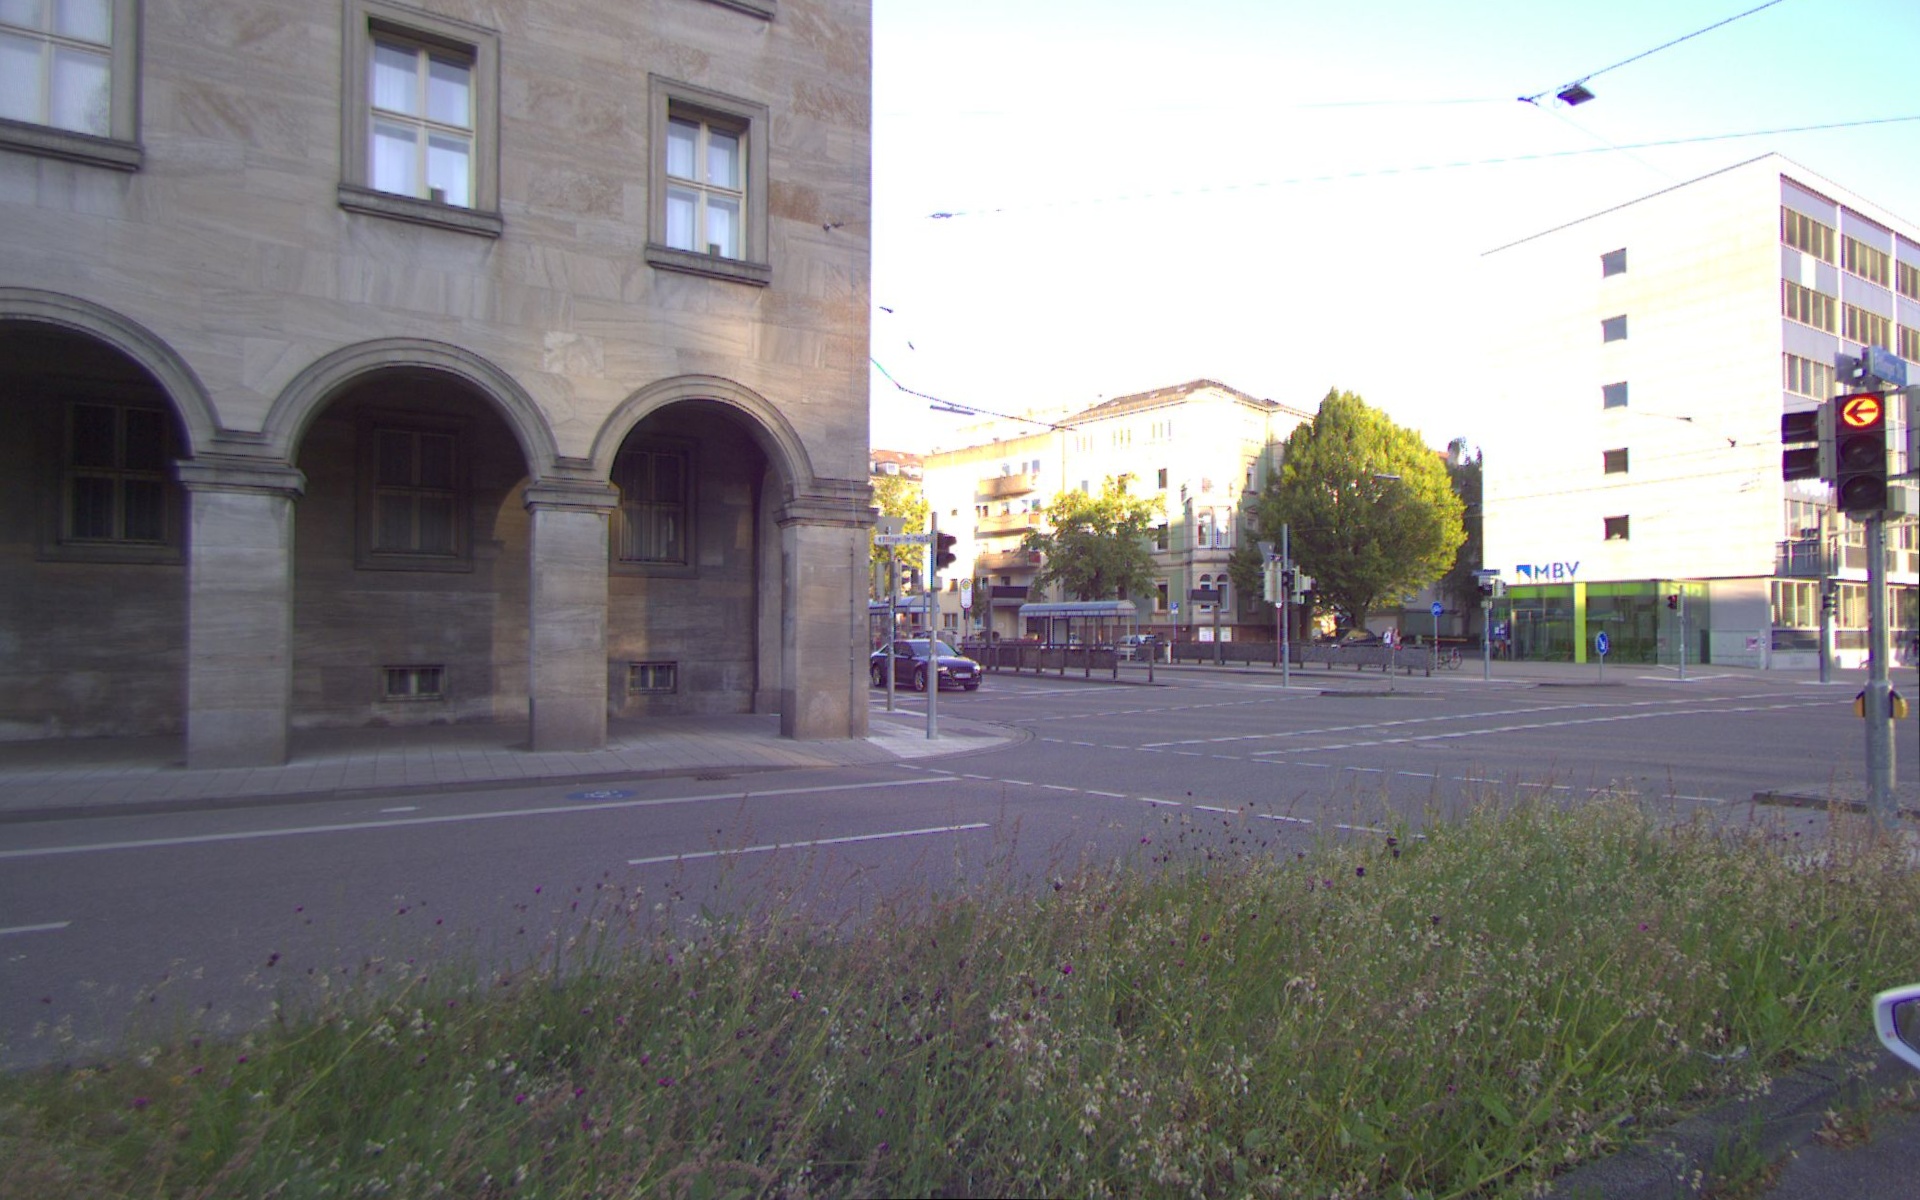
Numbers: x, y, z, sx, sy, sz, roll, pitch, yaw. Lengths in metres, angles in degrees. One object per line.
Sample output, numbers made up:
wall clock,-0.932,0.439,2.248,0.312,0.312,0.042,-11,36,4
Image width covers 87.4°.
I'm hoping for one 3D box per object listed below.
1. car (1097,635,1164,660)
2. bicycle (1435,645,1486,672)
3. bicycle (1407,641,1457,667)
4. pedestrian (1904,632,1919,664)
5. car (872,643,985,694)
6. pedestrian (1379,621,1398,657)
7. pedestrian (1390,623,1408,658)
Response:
car,10.031,2.768,59.204,3.545,1.390,1.830,-2,-3,45
bicycle,21.665,2.502,43.483,2.183,1.127,0.834,1,-2,-26
bicycle,21.005,2.396,44.657,2.183,1.127,0.834,1,-2,-26
pedestrian,50.564,2.542,53.271,0.494,1.701,0.549,1,-2,-30
car,-1.015,1.967,29.745,1.791,1.344,4.120,1,-2,-27
pedestrian,21.861,1.986,51.226,0.718,1.813,0.634,2,-2,-44
pedestrian,22.530,2.071,51.538,0.718,1.813,0.634,2,-2,-43
